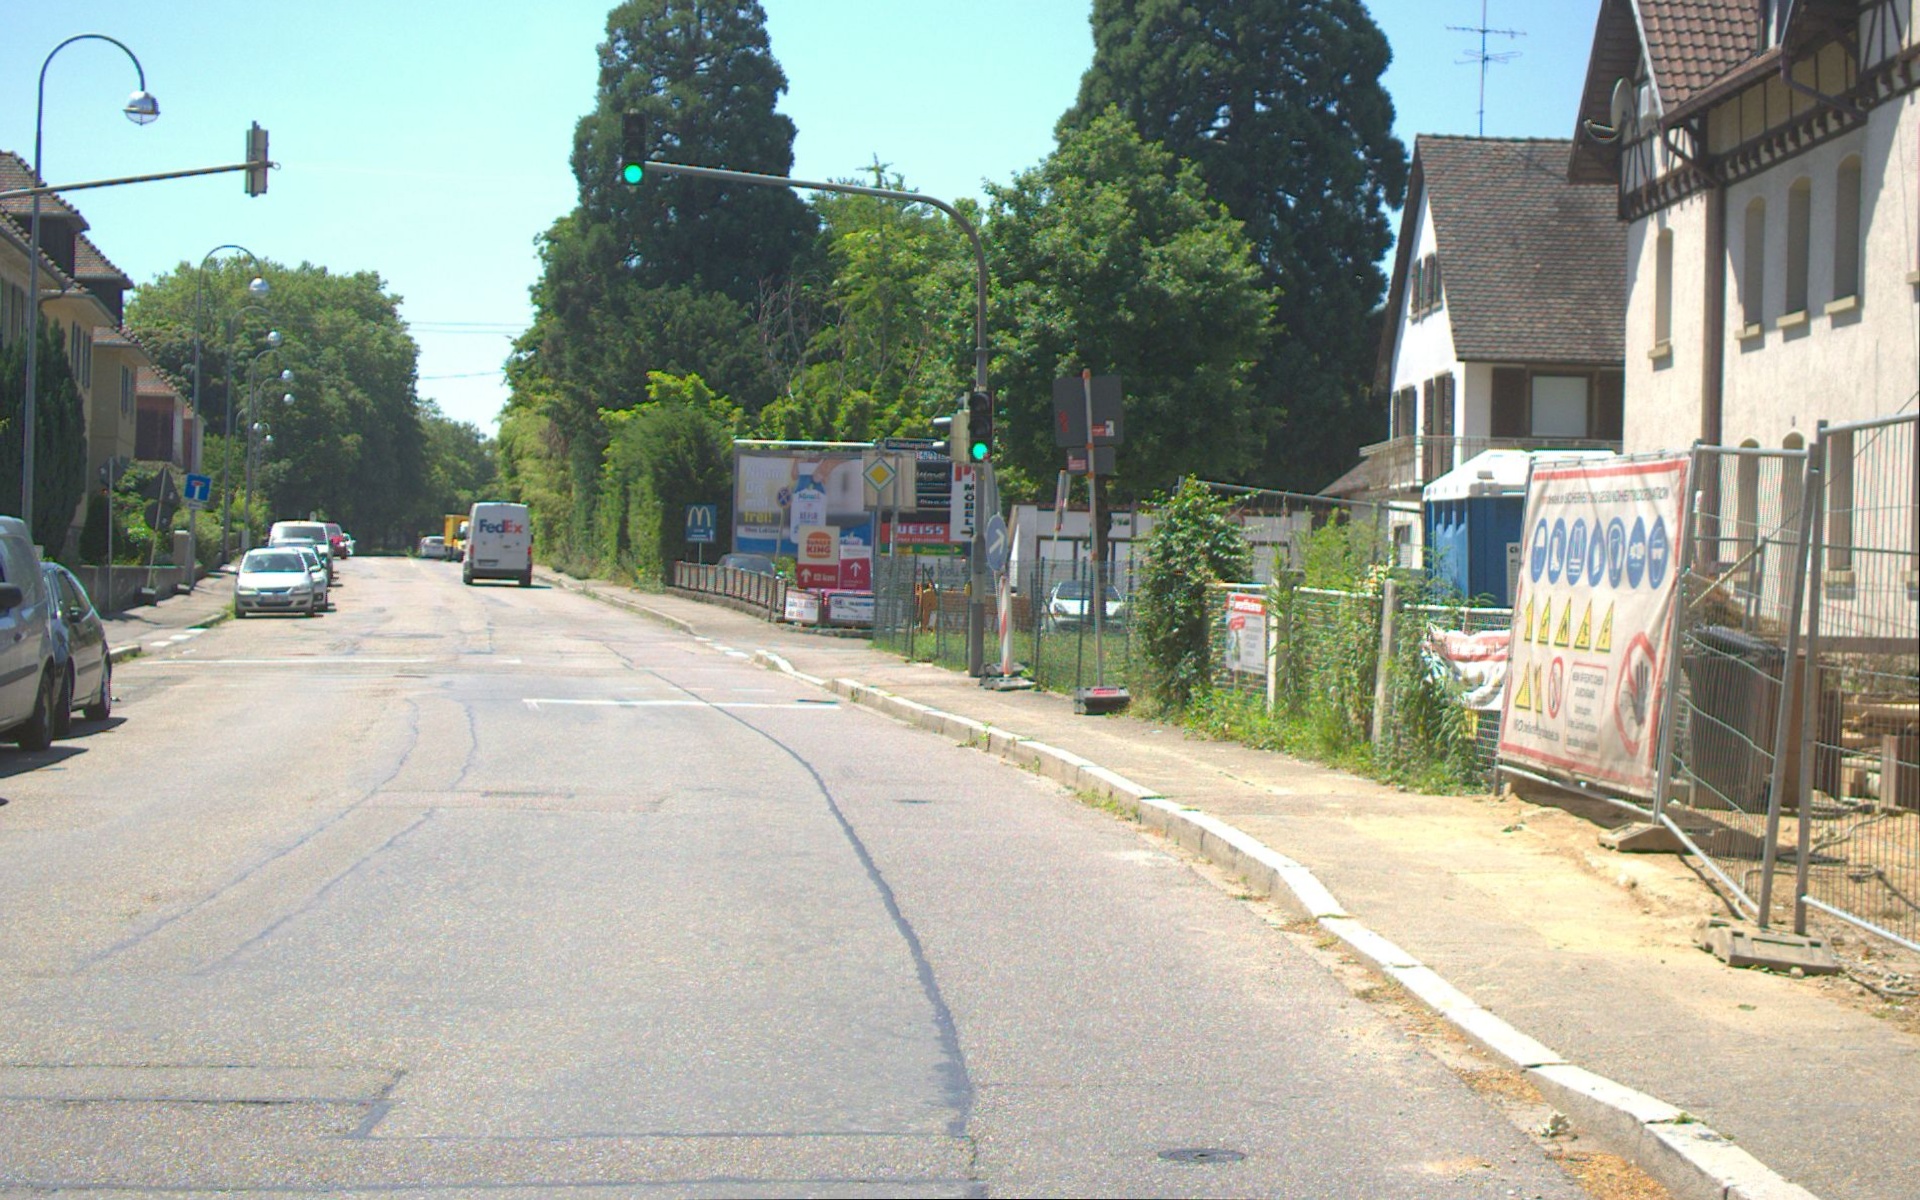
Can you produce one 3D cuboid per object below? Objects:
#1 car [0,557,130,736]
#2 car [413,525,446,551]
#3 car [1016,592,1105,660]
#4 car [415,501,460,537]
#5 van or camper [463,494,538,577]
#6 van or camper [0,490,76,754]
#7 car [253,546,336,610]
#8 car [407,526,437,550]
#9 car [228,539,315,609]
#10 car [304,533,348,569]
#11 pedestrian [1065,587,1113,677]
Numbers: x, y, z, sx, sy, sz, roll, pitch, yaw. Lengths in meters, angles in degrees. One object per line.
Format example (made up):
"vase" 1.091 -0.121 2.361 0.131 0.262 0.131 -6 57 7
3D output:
"car" -8.094 0.346 29.004 1.680 1.407 3.927 0 1 -7
"car" -35.553 -4.169 230.258 1.993 1.656 4.001 1 1 -11
"car" 2.084 0.521 70.741 1.712 1.265 3.384 2 1 3
"car" -25.357 -3.913 166.776 1.993 1.656 4.001 1 1 -11
"van or camper" -14.322 -2.010 107.201 2.262 2.519 4.761 0 1 -8
"van or camper" -7.482 0.135 24.509 1.681 1.798 3.986 0 1 -5
"car" -15.015 -0.518 77.558 1.794 1.397 4.220 0 1 -11
"car" -38.320 -4.423 244.729 1.993 1.656 4.001 1 1 -11
"car" -14.533 -0.566 72.670 1.759 1.442 3.925 0 1 -11
"car" -27.940 -2.165 151.578 1.814 1.560 3.698 0 1 -10
"pedestrian" 2.357 0.580 62.946 0.695 1.594 0.573 3 0 -9
